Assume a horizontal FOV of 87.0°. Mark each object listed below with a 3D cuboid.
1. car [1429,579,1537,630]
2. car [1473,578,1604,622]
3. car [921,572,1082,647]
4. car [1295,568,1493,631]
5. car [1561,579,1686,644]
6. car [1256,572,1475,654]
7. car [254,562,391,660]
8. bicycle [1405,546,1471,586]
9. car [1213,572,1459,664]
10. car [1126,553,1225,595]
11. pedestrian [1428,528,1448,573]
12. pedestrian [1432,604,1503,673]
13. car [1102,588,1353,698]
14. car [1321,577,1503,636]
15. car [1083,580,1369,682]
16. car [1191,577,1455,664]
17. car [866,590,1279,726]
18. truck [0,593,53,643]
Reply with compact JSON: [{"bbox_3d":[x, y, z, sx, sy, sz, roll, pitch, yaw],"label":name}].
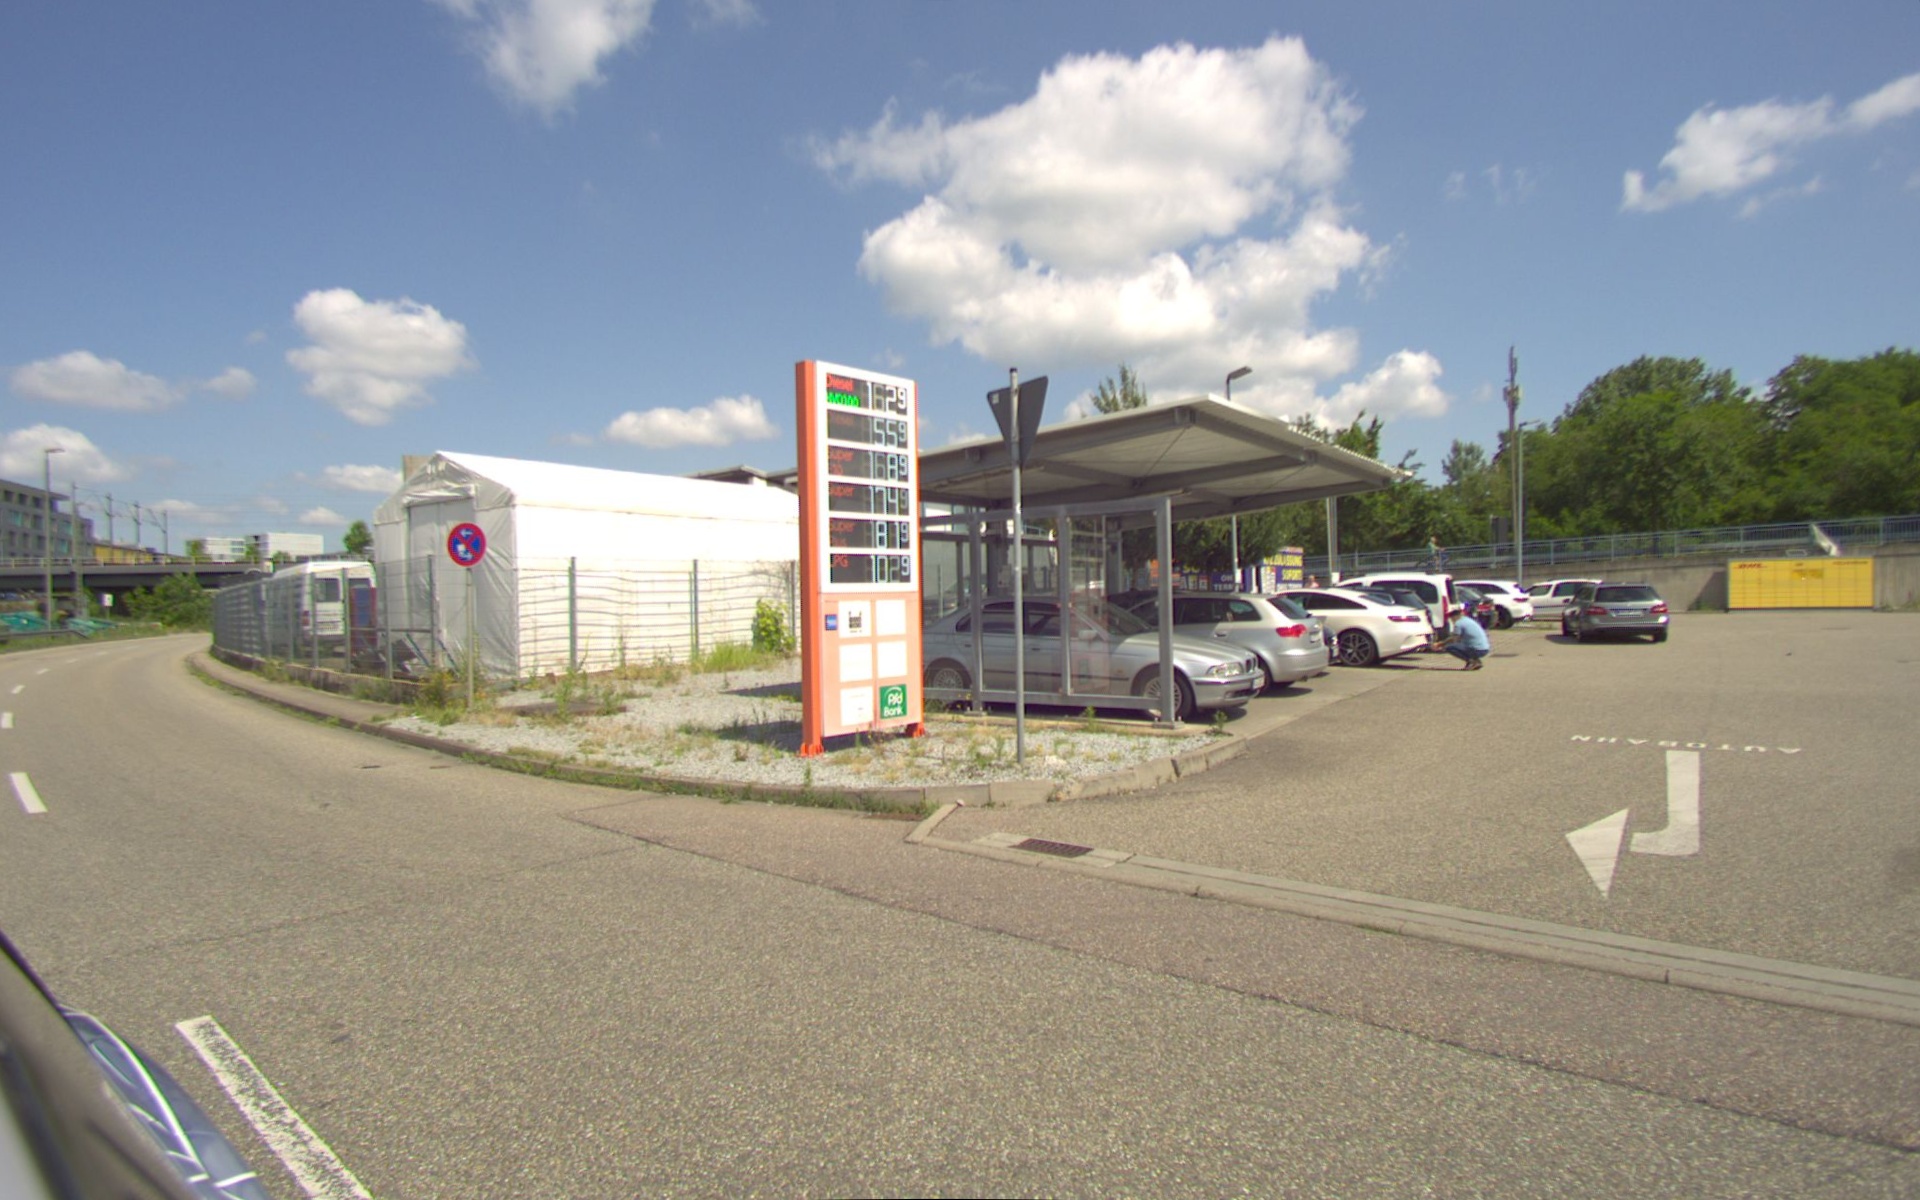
[{"bbox_3d":[17.630,0.152,34.169,3.116,1.637,1.257,-1,0,35],"label":"car"},{"bbox_3d":[22.483,0.018,39.463,4.296,1.615,1.979,-1,0,30],"label":"car"},{"bbox_3d":[1.367,0.246,30.234,1.996,2.029,5.631,-1,0,36],"label":"car"},{"bbox_3d":[11.574,0.009,27.099,4.586,1.564,1.977,-1,0,35],"label":"car"},{"bbox_3d":[16.879,0.273,25.979,1.911,1.500,4.494,-1,0,24],"label":"car"},{"bbox_3d":[9.719,0.309,24.398,4.586,1.791,1.977,-1,0,35],"label":"car"},{"bbox_3d":[-18.639,0.342,29.411,2.094,2.556,6.723,0,-1,-44],"label":"car"},{"bbox_3d":[21.896,-1.528,46.353,2.682,1.763,0.530,-1,0,31],"label":"bicycle"},{"bbox_3d":[8.010,0.368,21.760,4.589,1.780,1.975,-1,0,37],"label":"car"},{"bbox_3d":[13.043,-1.558,61.448,5.544,2.274,1.978,-2,1,34],"label":"car"},{"bbox_3d":[21.908,-2.250,46.372,0.765,2.009,0.585,-1,0,30],"label":"pedestrian"},{"bbox_3d":[8.702,0.642,17.358,0.996,1.134,0.801,-1,0,34],"label":"pedestrian"},{"bbox_3d":[3.733,0.549,14.205,3.048,1.355,1.580,-1,1,35],"label":"car"},{"bbox_3d":[13.231,0.201,29.720,4.586,1.610,1.977,-1,0,35],"label":"car"},{"bbox_3d":[4.437,0.485,17.093,4.241,1.509,1.977,-1,0,35],"label":"car"},{"bbox_3d":[6.691,0.366,18.842,4.305,1.448,1.874,-1,0,35],"label":"car"},{"bbox_3d":[1.310,0.625,12.622,4.775,1.388,1.903,-1,1,32],"label":"car"},{"bbox_3d":[-60.997,1.137,63.755,5.418,3.121,2.007,-1,0,-24],"label":"truck"}]
